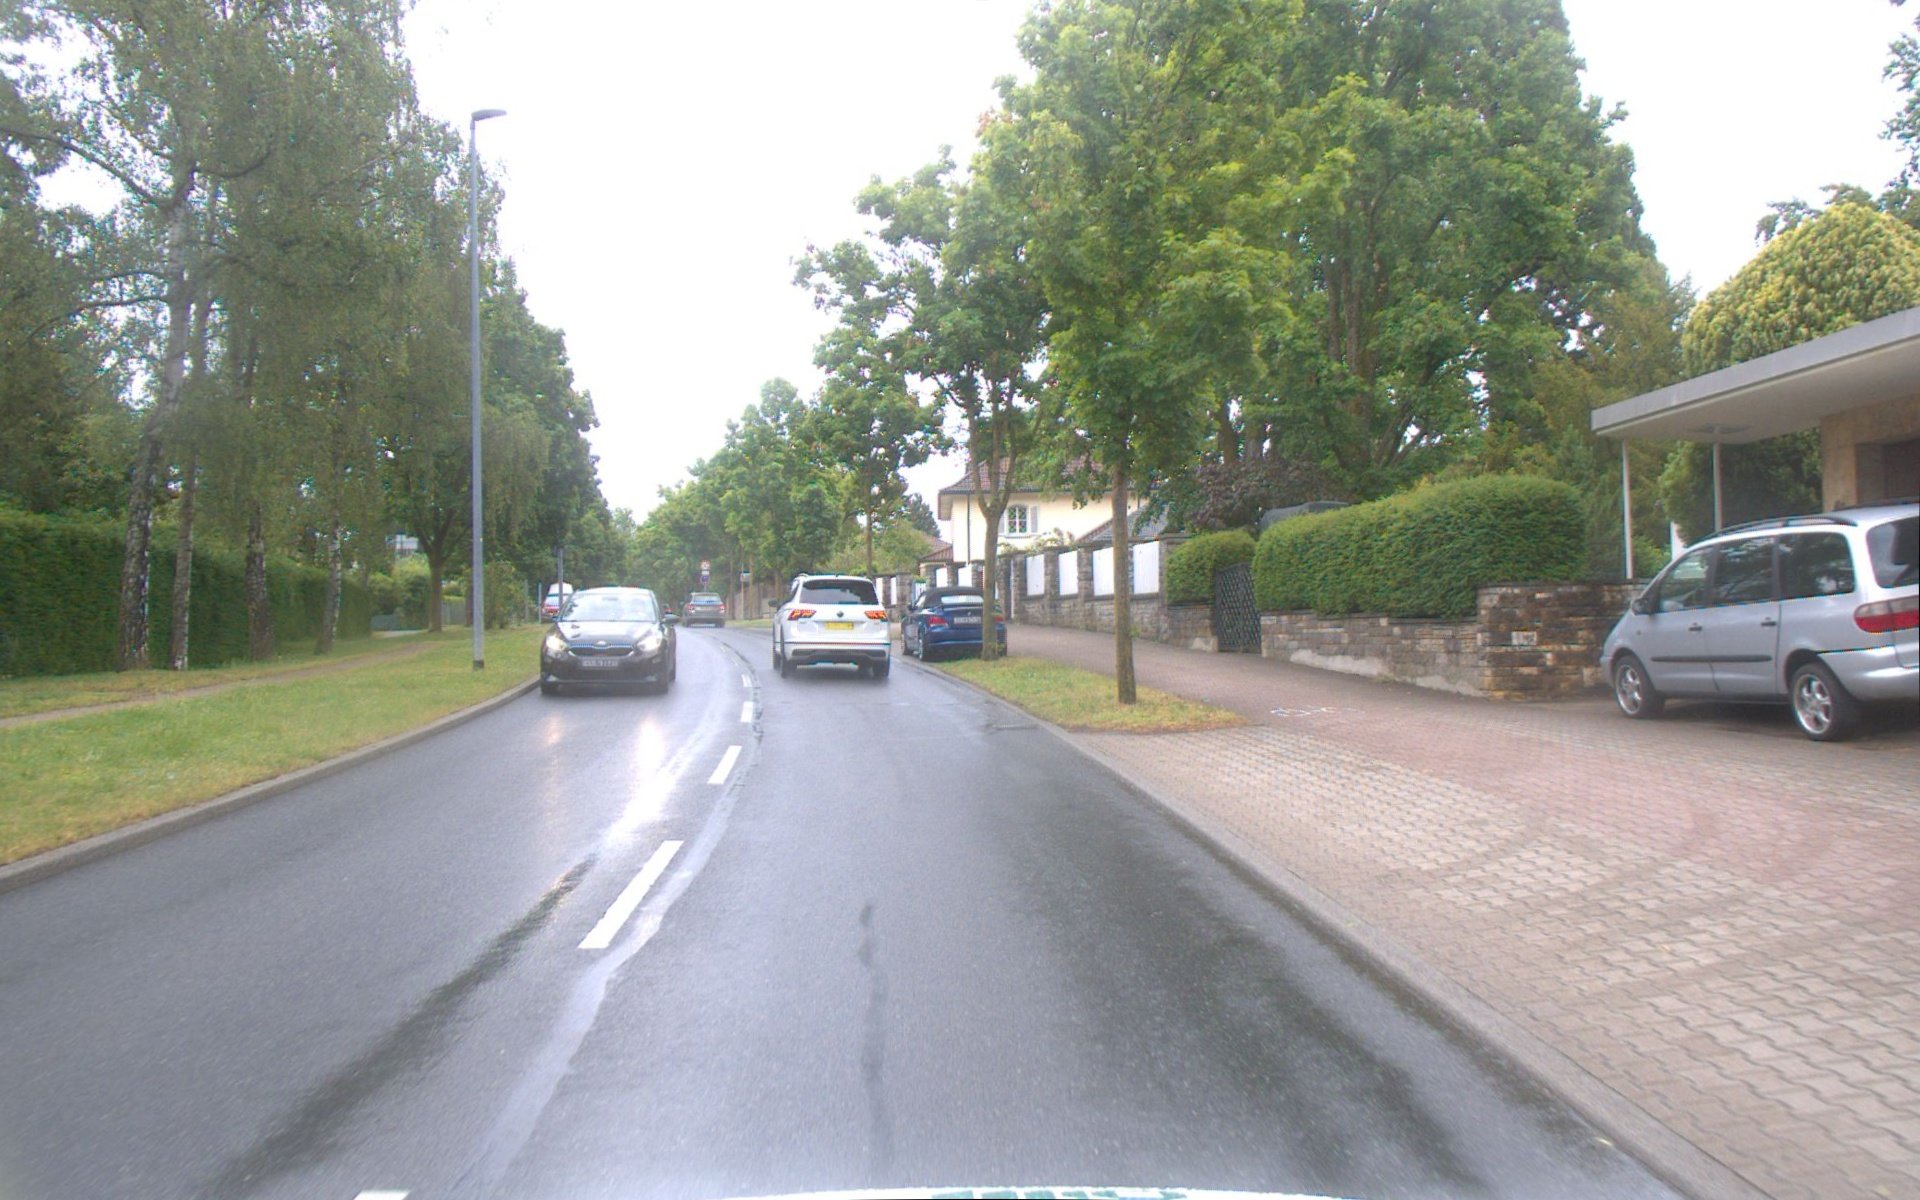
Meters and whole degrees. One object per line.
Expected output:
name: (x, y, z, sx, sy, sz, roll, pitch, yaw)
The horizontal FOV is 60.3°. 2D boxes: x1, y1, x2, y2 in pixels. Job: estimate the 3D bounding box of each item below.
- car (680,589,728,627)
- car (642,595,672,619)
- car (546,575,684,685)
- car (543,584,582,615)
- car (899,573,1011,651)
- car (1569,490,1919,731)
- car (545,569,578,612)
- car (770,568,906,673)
car: (-10.992, 0.306, 70.823, 1.808, 1.513, 3.989, 1, 1, -12)
car: (-19.531, 0.450, 106.450, 1.819, 1.442, 4.214, 1, 1, -12)
car: (-5.010, 0.381, 24.462, 1.722, 1.466, 4.149, 1, 1, -8)
car: (-19.607, -0.002, 81.443, 1.812, 1.491, 4.234, 0, 0, -14)
car: (-0.156, 0.216, 33.316, 1.611, 1.401, 3.821, -3, 1, -9)
car: (7.469, 0.043, 14.881, 1.759, 1.788, 4.937, -1, 1, -6)
car: (-24.913, -0.563, 103.375, 1.960, 2.606, 5.213, -1, 0, -14)
car: (-2.156, 0.278, 28.308, 1.960, 1.660, 3.991, 0, 1, -10)
